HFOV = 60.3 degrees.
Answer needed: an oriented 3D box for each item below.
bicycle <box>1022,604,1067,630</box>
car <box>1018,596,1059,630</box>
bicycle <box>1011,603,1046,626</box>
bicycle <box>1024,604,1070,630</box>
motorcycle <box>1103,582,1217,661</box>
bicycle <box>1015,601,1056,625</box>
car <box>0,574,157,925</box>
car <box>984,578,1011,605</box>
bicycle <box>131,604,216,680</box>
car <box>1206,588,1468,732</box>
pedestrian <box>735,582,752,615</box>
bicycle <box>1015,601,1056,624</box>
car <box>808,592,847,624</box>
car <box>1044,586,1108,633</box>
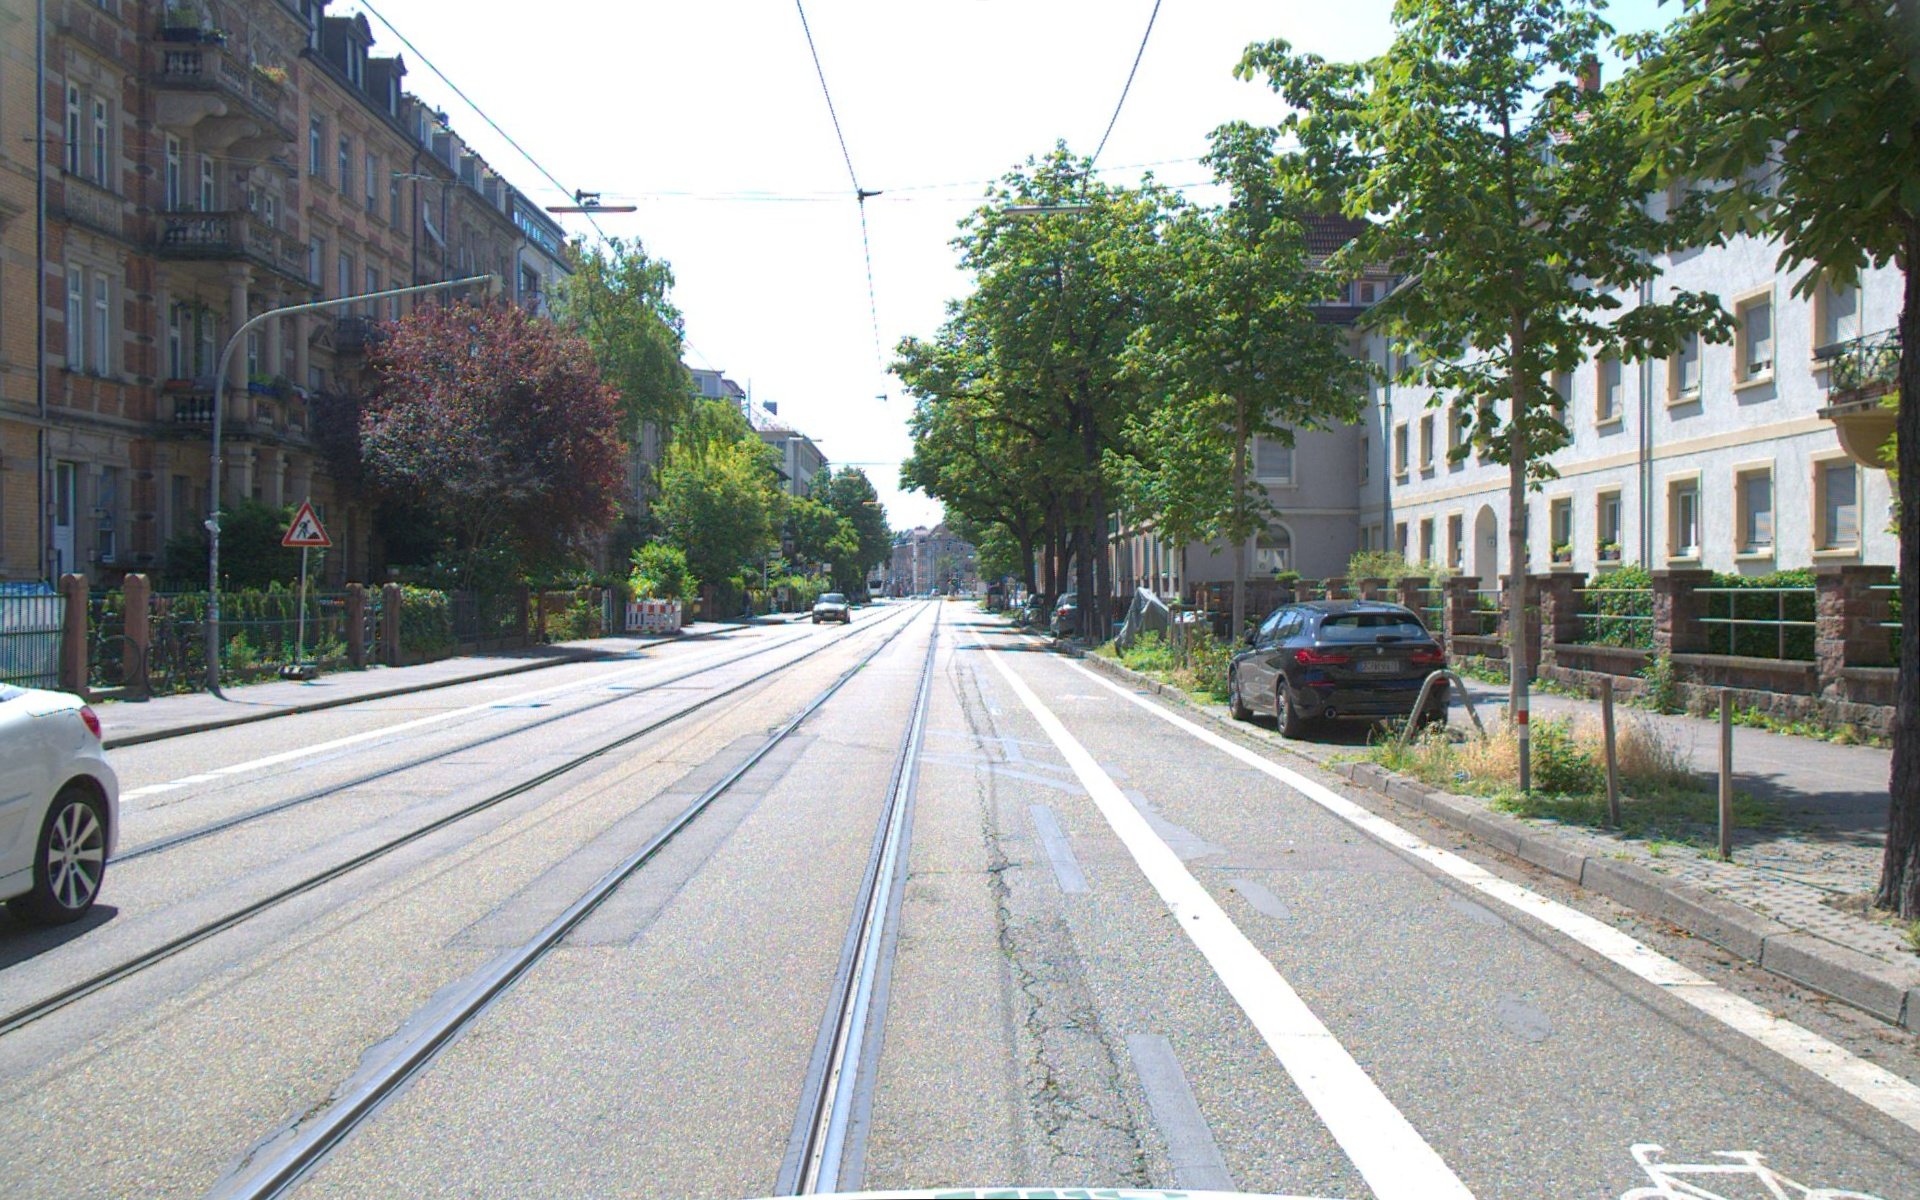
[{"bbox_3d":[3.589,0.712,70.252,1.849,1.070,0.538,1,-1,6],"label":"bicycle"},{"bbox_3d":[3.541,0.600,74.893,1.589,1.473,3.809,-2,-1,-1],"label":"car"},{"bbox_3d":[3.477,0.732,84.234,1.779,1.133,0.493,0,-1,-2],"label":"bicycle"},{"bbox_3d":[3.701,0.710,70.627,1.921,1.082,0.599,1,-1,6],"label":"bicycle"},{"bbox_3d":[4.193,0.435,34.751,2.280,1.567,0.864,1,0,43],"label":"motorcycle"},{"bbox_3d":[3.623,0.612,79.386,1.922,1.133,0.599,0,-1,1],"label":"bicycle"},{"bbox_3d":[-4.819,0.611,6.140,1.720,1.449,4.000,0,0,0],"label":"car"},{"bbox_3d":[2.926,-0.643,130.777,1.952,2.071,4.696,1,0,-1],"label":"car"},{"bbox_3d":[-11.202,0.579,23.597,0.445,1.021,1.805,1,0,-4],"label":"bicycle"},{"bbox_3d":[4.251,0.607,19.492,1.734,1.451,4.859,1,0,-3],"label":"car"},{"bbox_3d":[-11.063,-0.054,84.455,0.736,1.657,0.832,2,0,-4],"label":"pedestrian"},{"bbox_3d":[3.629,0.616,80.050,1.968,1.133,0.640,0,-1,1],"label":"bicycle"},{"bbox_3d":[-6.420,0.380,80.334,1.652,1.480,3.747,1,0,-1],"label":"car"},{"bbox_3d":[3.906,0.306,56.359,1.738,1.527,4.304,0,0,-2],"label":"car"}]
